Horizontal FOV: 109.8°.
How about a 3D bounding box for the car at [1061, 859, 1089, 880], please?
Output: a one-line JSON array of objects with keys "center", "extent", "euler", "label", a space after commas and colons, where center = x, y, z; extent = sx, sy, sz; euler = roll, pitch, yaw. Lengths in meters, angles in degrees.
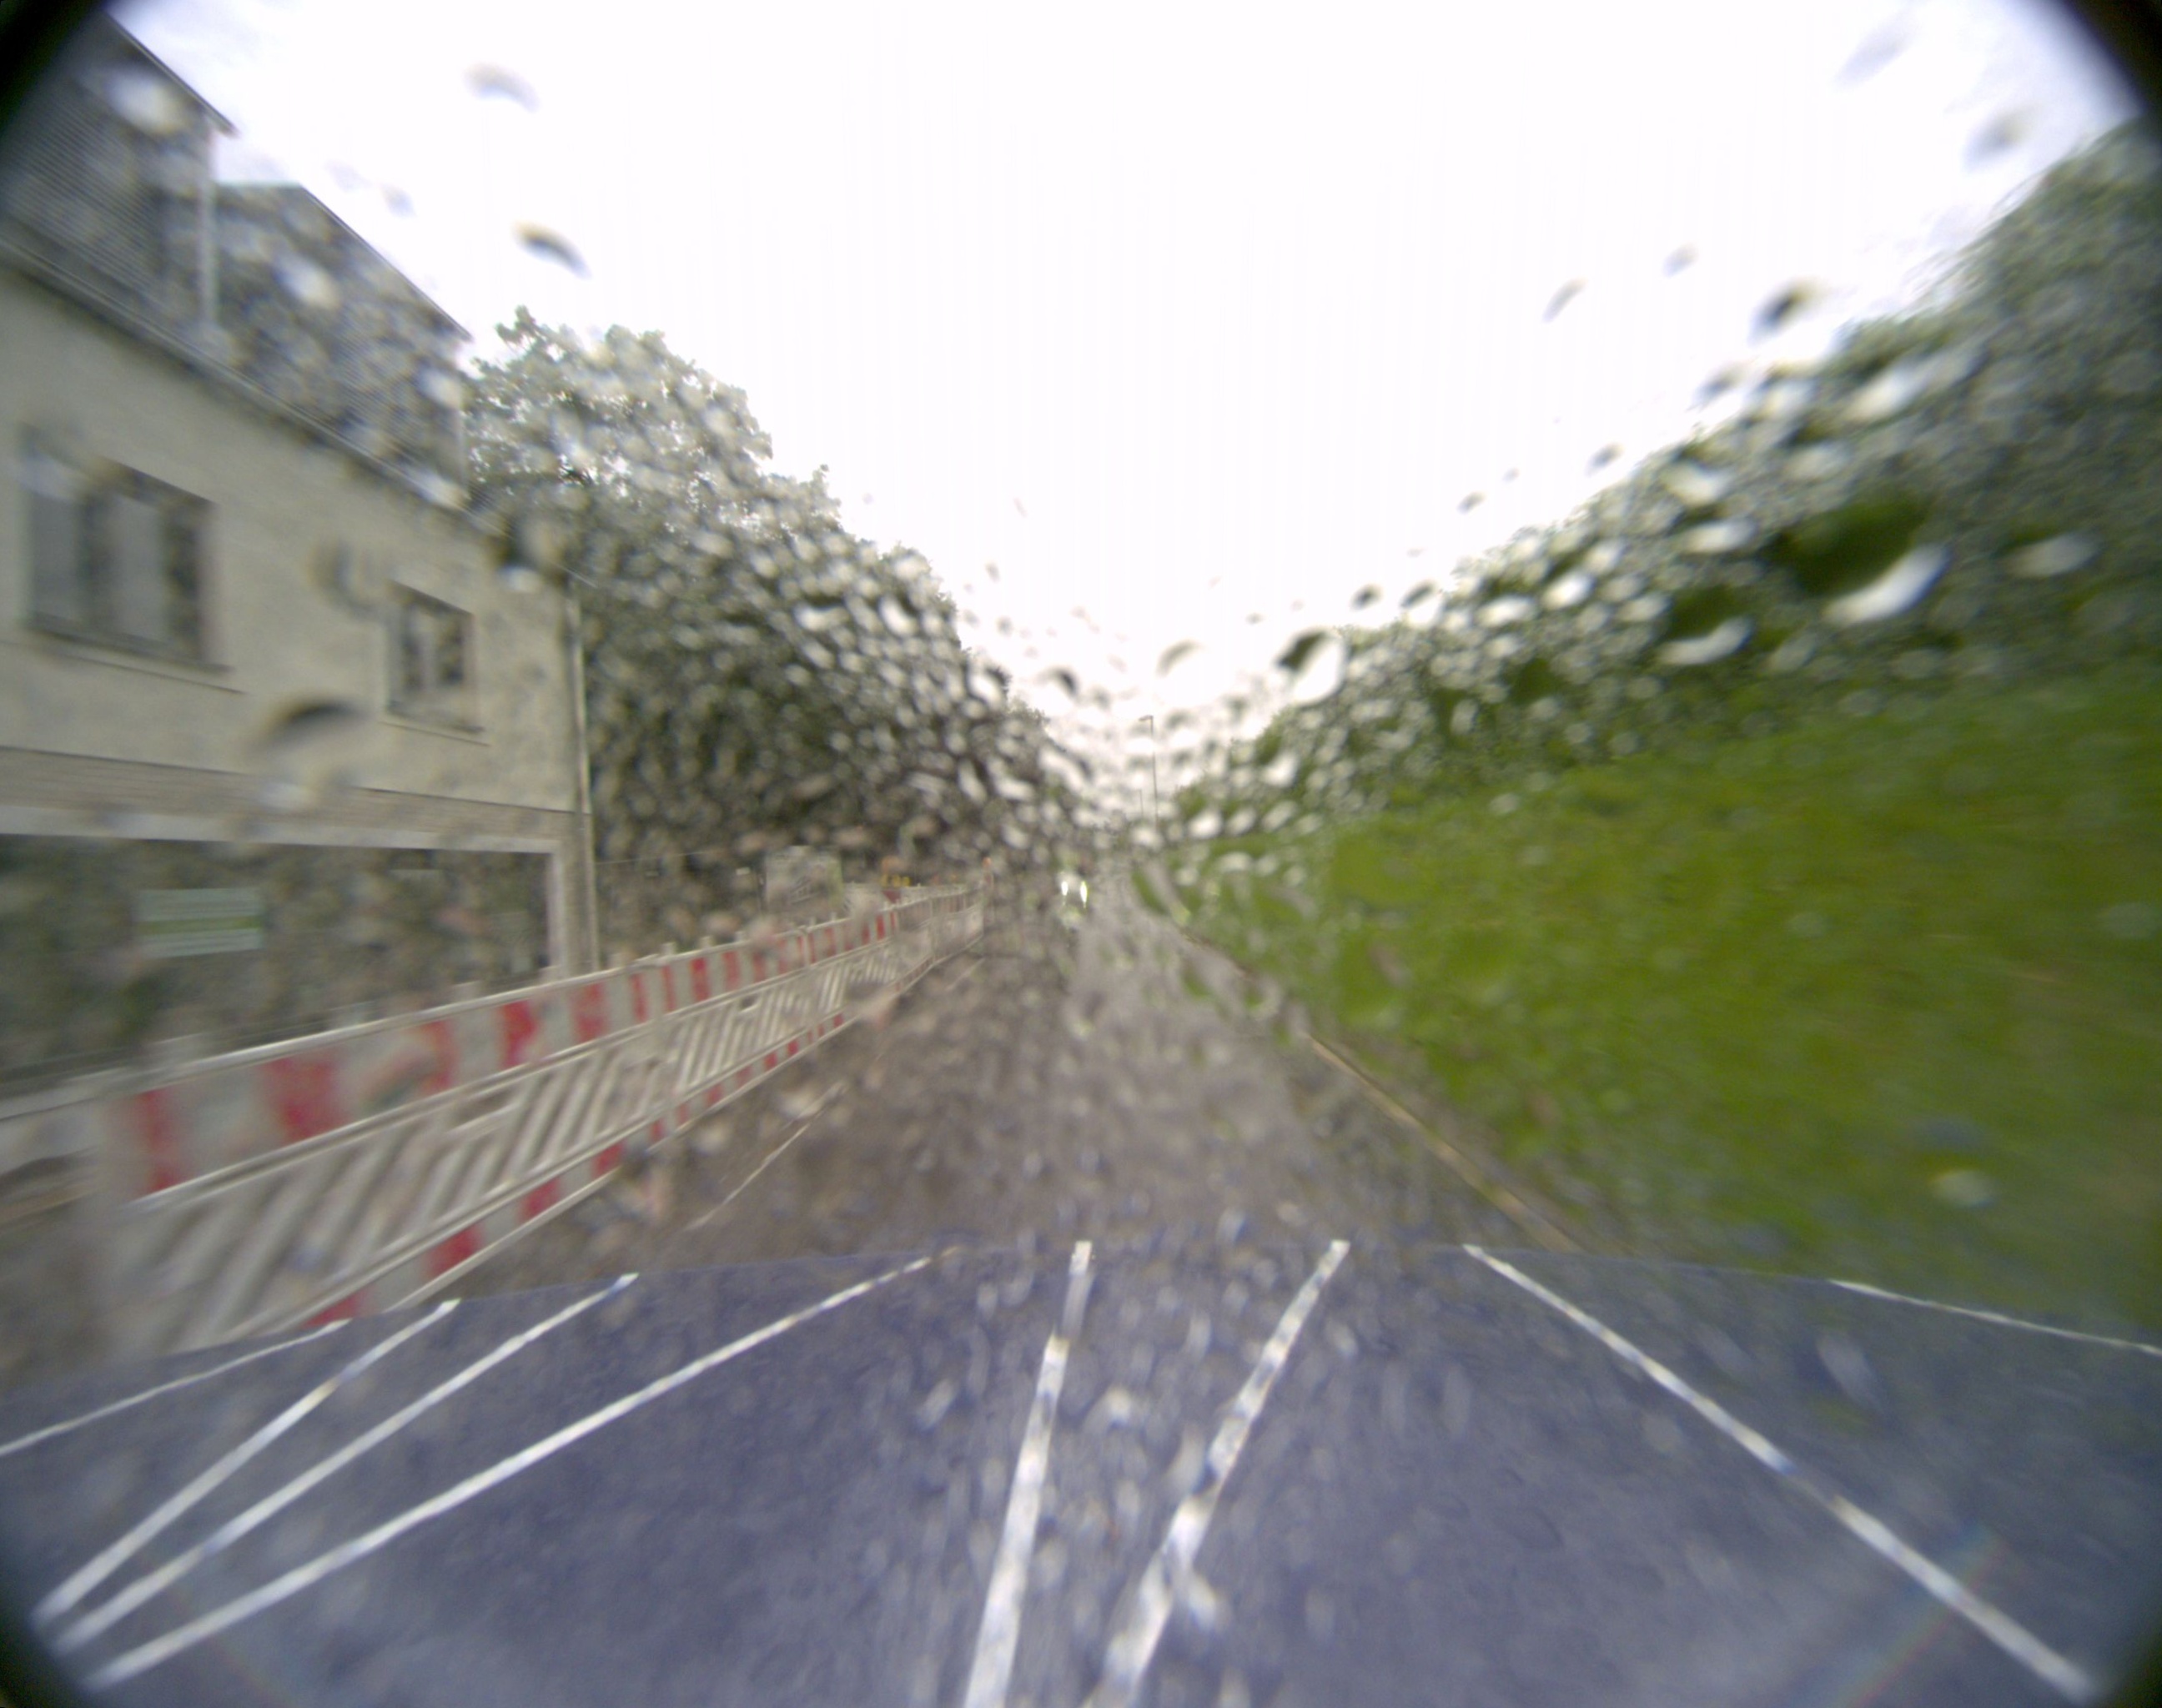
[{"center": [-0.447, 1.140, 58.676], "extent": [1.798, 1.543, 4.001], "euler": [0, 0, 5], "label": "car"}]
